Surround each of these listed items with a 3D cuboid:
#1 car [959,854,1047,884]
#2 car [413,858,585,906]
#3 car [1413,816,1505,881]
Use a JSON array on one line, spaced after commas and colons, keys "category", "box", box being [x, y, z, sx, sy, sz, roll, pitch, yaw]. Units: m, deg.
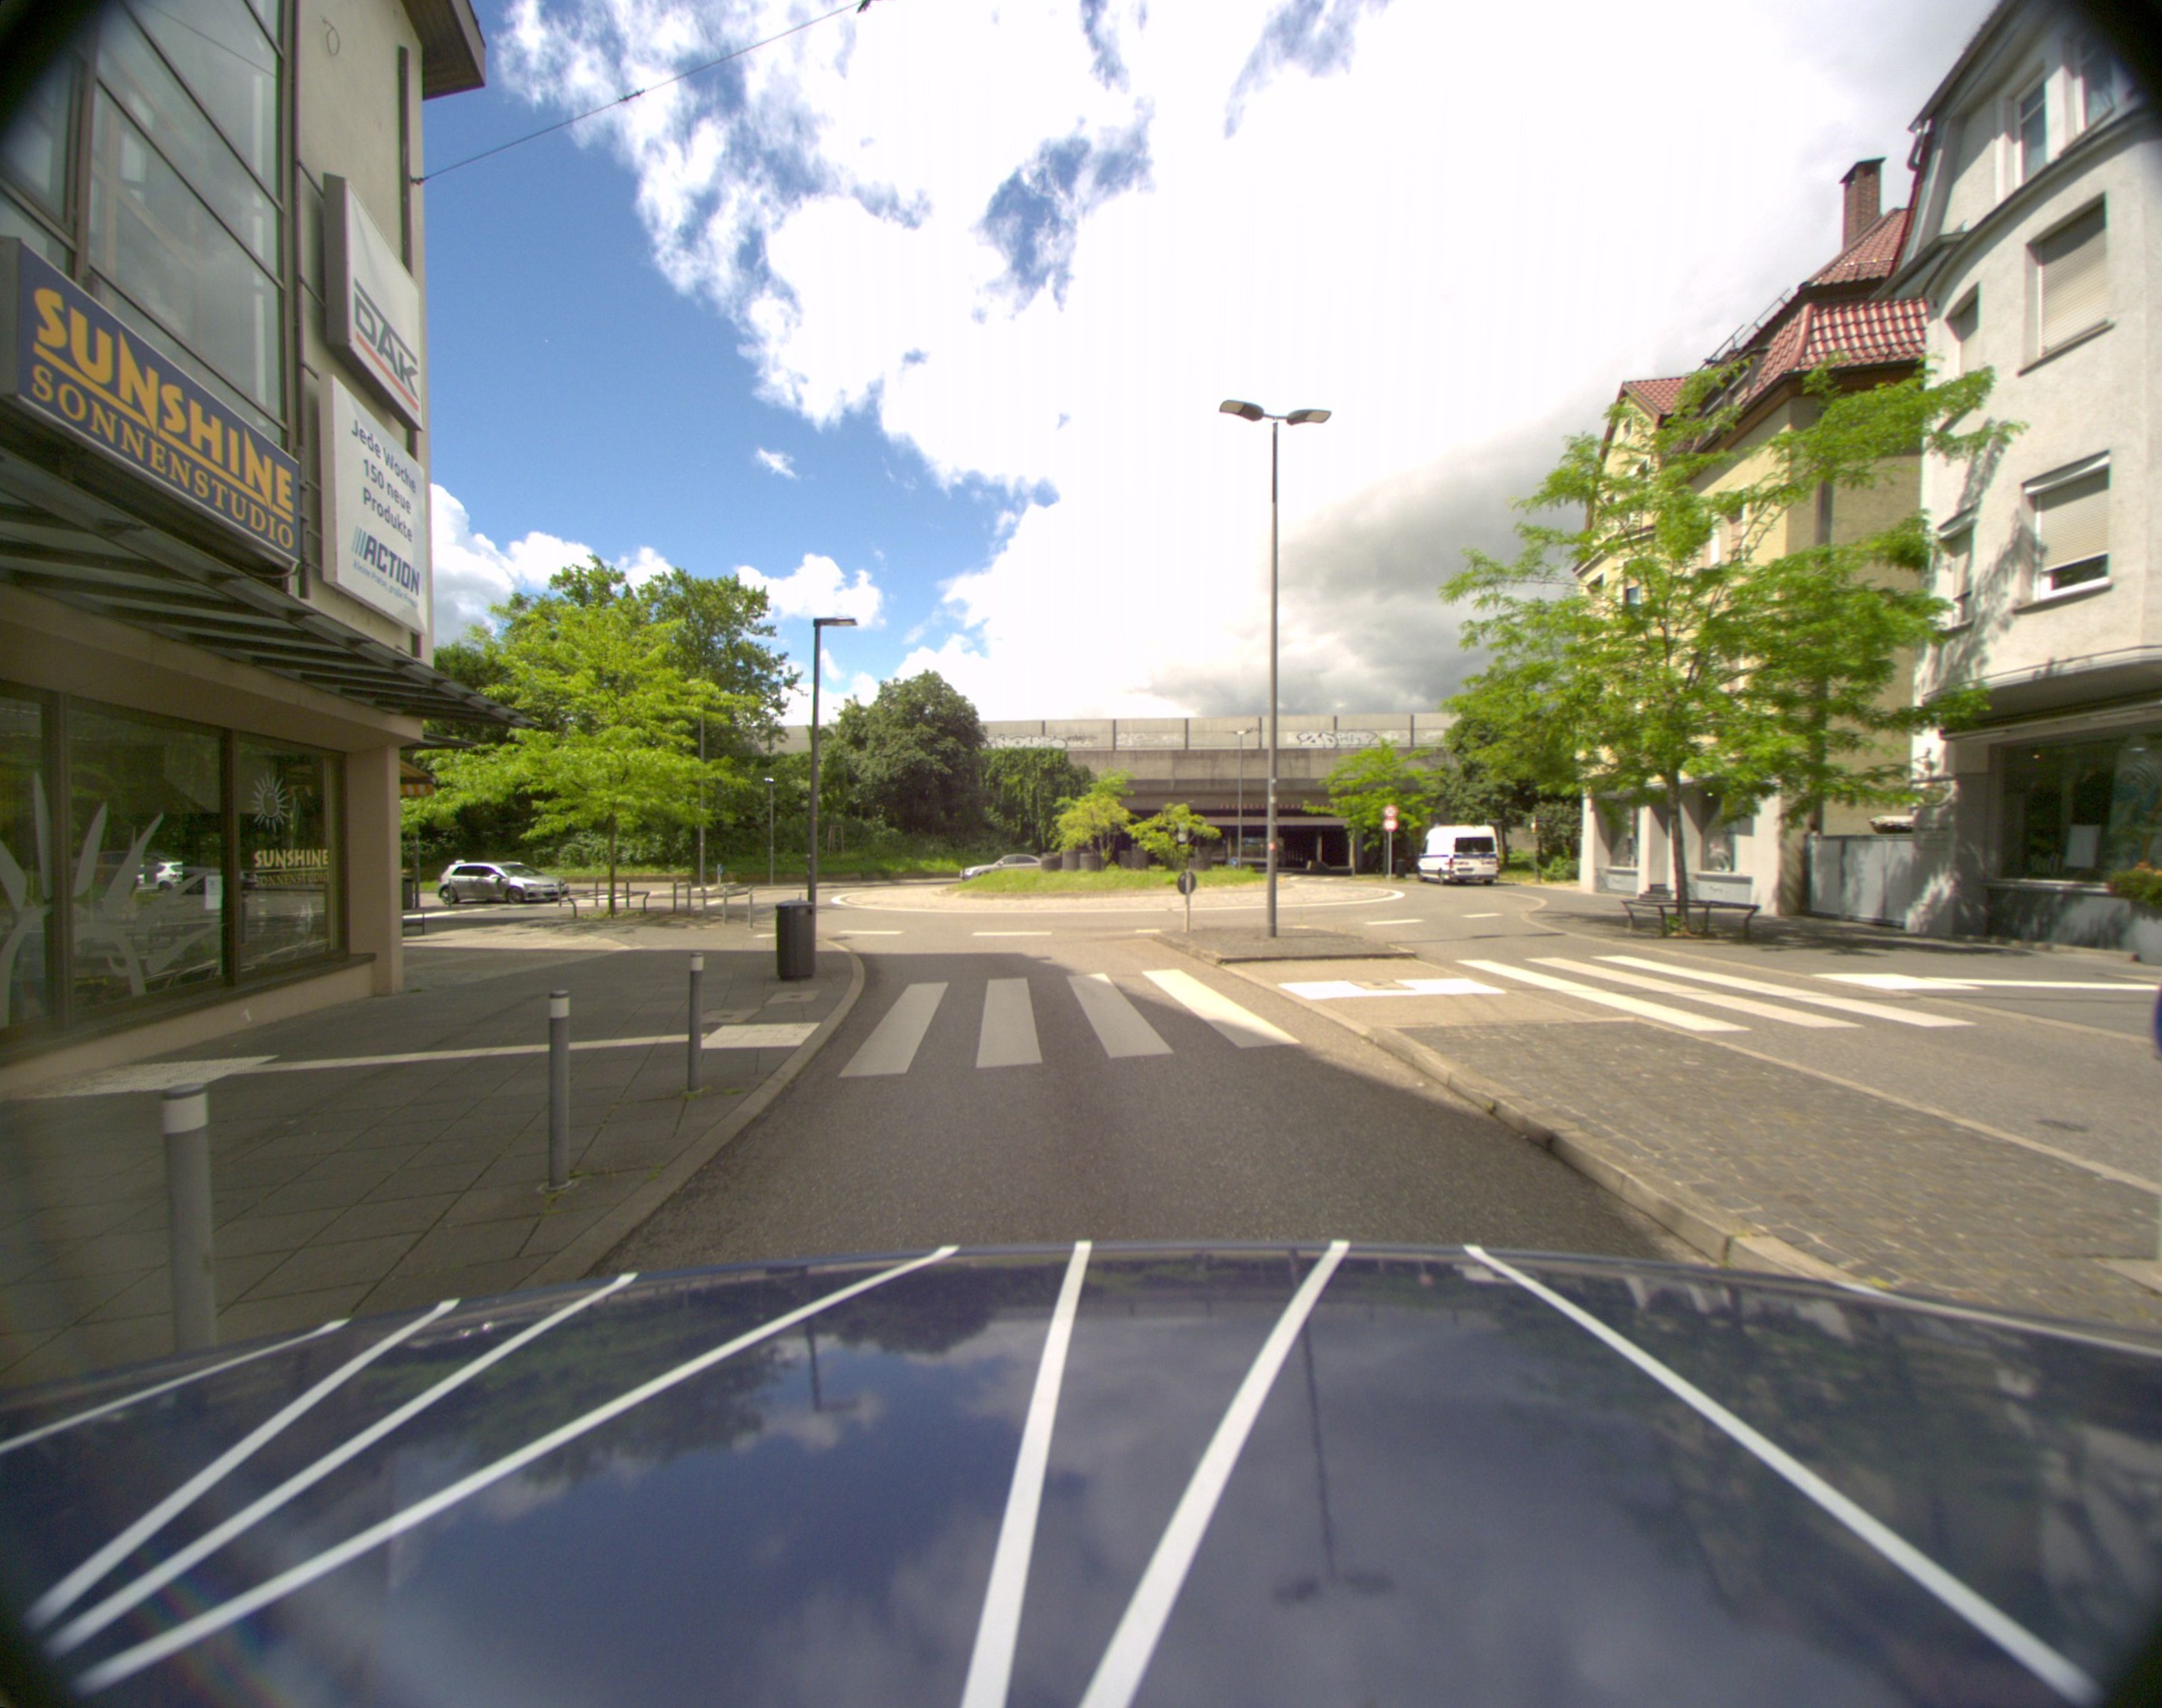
[{"category": "car", "box": [-3.897, 0.710, 37.799, 4.004, 1.346, 1.712, -1, 1, -22]}, {"category": "car", "box": [-20.489, 0.965, 26.894, 4.580, 1.500, 2.000, -1, 2, 3]}, {"category": "car", "box": [16.689, -0.240, 33.908, 1.971, 2.591, 5.934, -1, 0, 9]}]
